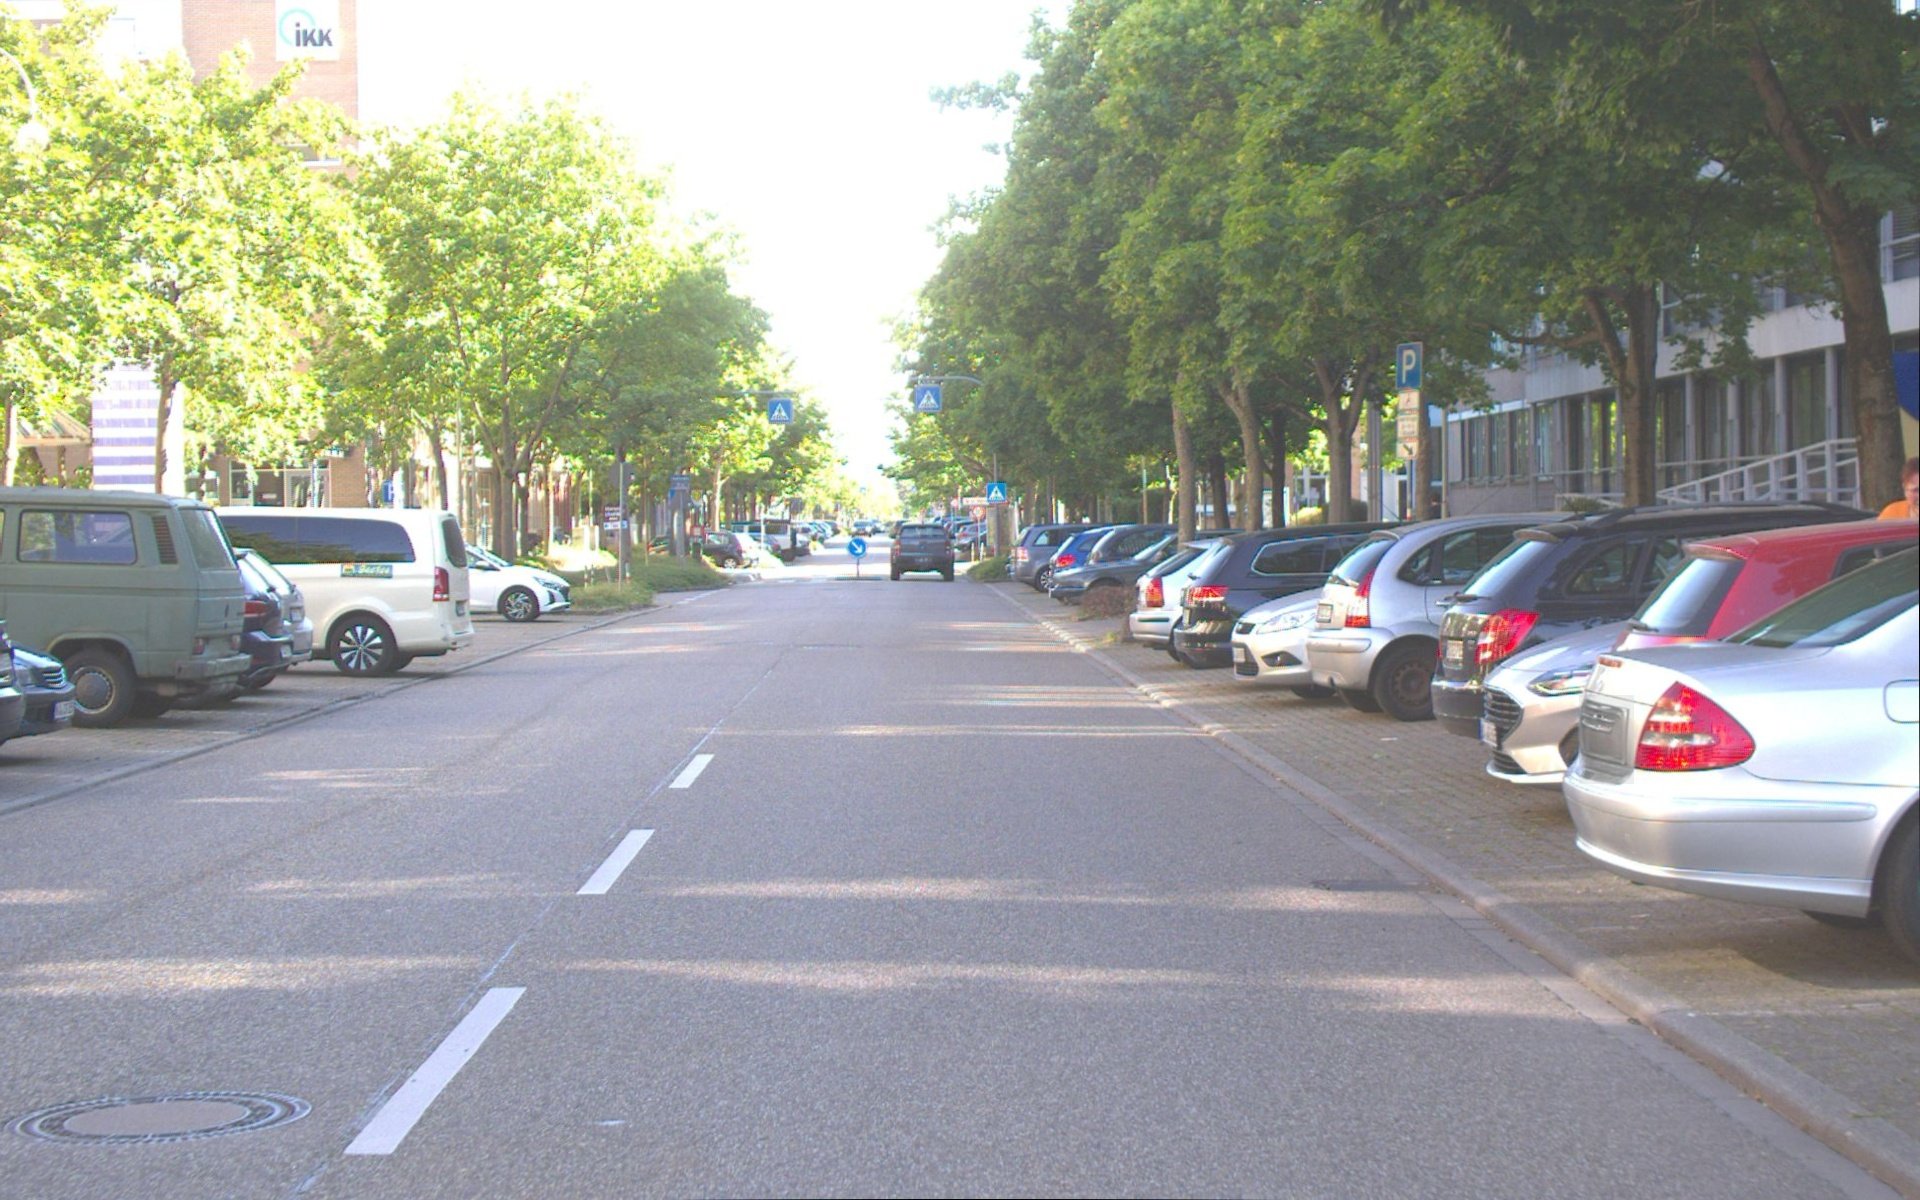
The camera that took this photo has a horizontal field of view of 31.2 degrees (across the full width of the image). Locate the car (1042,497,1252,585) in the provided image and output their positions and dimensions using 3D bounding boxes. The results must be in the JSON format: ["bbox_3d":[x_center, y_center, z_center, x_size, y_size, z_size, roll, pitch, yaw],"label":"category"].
[{"bbox_3d":[3.629,-1.154,67.133,3.949,1.509,1.813,-3,1,1],"label":"car"}]

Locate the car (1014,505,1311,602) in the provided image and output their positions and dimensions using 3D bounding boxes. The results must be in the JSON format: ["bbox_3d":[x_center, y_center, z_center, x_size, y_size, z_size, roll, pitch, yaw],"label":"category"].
[{"bbox_3d":[3.414,-0.806,58.682,4.824,1.415,2.032,-3,1,-2],"label":"car"}]

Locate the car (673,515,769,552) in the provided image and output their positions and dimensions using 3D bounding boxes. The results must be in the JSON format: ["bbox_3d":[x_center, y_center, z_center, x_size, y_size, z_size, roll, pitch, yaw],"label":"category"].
[{"bbox_3d":[-9.855,-2.729,141.519,3.847,1.468,1.813,0,1,-7],"label":"car"}]

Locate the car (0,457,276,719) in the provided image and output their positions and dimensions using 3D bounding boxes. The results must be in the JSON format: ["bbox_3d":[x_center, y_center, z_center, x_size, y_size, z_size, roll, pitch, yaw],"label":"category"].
[{"bbox_3d":[-8.158,-0.139,28.588,4.488,2.082,2.083,1,1,2],"label":"car"}]

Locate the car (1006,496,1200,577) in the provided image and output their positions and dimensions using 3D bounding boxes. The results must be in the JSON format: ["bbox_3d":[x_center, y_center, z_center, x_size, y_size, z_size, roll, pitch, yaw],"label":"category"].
[{"bbox_3d":[3.370,-1.501,81.378,4.350,1.698,1.813,-3,1,-3],"label":"car"}]

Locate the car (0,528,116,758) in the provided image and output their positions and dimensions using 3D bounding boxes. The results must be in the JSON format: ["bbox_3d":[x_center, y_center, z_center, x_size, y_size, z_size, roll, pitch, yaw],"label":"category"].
[{"bbox_3d":[-8.140,0.256,23.880,4.132,1.522,1.725,1,1,0],"label":"car"}]

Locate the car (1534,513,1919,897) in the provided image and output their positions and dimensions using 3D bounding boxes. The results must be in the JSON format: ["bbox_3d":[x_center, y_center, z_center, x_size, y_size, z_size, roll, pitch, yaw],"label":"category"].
[{"bbox_3d":[4.487,0.346,14.472,3.838,1.442,1.922,-3,1,3],"label":"car"}]

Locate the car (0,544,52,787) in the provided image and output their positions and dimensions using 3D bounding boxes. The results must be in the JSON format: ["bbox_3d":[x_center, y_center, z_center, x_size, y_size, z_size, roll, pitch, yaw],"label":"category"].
[{"bbox_3d":[-7.617,0.364,21.120,3.725,1.422,1.725,0,1,-6],"label":"car"}]

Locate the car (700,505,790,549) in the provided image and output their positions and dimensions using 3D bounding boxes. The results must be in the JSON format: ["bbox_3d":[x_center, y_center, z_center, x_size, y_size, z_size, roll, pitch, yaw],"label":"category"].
[{"bbox_3d":[-10.150,-3.466,162.778,3.987,2.007,2.000,-1,1,3],"label":"car"}]

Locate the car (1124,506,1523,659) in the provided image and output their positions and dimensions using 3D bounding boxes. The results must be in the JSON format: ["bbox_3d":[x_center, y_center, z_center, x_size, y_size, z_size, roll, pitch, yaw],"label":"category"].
[{"bbox_3d":[3.843,-0.201,36.750,3.969,1.415,1.711,-3,1,-2],"label":"car"}]

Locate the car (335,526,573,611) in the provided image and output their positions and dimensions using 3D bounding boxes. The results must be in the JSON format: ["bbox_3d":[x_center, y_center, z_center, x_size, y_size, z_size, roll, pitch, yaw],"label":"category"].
[{"bbox_3d":[-8.951,-0.574,60.993,3.986,1.481,1.807,0,1,-2],"label":"car"}]

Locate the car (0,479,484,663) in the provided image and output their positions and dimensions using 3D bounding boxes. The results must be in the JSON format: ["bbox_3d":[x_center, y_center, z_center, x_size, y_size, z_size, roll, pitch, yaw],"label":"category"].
[{"bbox_3d":[-8.099,-0.344,38.561,5.257,1.960,1.943,1,1,-1],"label":"car"}]

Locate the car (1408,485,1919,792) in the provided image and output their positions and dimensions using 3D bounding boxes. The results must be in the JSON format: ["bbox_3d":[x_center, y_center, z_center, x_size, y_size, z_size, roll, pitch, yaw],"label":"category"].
[{"bbox_3d":[4.924,0.145,19.477,4.515,1.537,1.922,-3,1,2],"label":"car"}]

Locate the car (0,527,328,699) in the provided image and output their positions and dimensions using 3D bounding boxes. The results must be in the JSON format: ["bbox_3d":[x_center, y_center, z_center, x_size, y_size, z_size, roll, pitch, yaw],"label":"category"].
[{"bbox_3d":[-8.106,0.083,31.278,4.321,1.472,1.943,1,1,2],"label":"car"}]

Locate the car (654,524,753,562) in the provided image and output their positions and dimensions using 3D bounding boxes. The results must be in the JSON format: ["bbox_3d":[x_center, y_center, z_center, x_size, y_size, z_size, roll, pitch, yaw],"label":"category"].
[{"bbox_3d":[-10.133,-2.261,135.776,3.848,1.468,1.813,1,1,-4],"label":"car"}]

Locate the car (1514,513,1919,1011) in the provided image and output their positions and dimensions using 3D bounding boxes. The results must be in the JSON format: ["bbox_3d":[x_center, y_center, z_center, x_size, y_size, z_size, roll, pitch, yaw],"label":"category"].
[{"bbox_3d":[4.312,0.403,11.502,4.578,1.470,1.747,-3,1,0],"label":"car"}]

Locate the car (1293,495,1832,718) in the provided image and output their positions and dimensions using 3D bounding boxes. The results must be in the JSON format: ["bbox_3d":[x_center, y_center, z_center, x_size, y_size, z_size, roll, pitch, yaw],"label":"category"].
[{"bbox_3d":[4.583,0.028,26.442,3.742,1.488,1.617,-3,1,-4],"label":"car"}]

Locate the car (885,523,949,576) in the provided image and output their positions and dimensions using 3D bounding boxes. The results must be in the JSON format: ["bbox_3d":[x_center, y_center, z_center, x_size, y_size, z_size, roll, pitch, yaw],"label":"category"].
[{"bbox_3d":[-1.370,-1.615,108.584,1.993,1.634,4.000,1,1,-1],"label":"car"}]

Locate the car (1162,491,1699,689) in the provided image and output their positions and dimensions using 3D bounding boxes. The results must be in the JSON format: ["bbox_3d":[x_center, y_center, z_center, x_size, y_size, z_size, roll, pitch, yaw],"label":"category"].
[{"bbox_3d":[4.252,-0.111,31.540,4.591,1.488,1.763,-3,1,-1],"label":"car"}]

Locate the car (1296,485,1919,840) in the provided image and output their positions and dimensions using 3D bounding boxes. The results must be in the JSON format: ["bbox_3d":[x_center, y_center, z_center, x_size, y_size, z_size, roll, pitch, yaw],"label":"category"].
[{"bbox_3d":[4.008,0.240,17.084,4.515,1.537,1.922,-3,1,3],"label":"car"}]

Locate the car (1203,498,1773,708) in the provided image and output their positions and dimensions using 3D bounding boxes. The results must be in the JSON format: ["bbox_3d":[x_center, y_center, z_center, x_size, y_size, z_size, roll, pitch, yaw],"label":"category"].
[{"bbox_3d":[4.341,-0.004,28.677,4.285,1.488,2.004,-3,1,-5],"label":"car"}]

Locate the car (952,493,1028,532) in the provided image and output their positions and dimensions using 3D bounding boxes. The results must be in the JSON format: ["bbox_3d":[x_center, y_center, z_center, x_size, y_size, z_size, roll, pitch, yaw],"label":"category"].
[{"bbox_3d":[1.597,-4.720,185.189,3.986,2.007,2.000,-1,1,-2],"label":"car"}]

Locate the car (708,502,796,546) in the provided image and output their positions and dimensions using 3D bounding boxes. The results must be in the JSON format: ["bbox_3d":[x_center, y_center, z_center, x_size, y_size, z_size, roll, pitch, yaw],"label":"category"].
[{"bbox_3d":[-10.027,-3.673,166.131,3.987,2.007,2.000,-1,1,3],"label":"car"}]

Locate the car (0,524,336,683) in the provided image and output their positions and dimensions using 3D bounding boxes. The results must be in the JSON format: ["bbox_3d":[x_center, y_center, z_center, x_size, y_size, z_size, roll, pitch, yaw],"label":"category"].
[{"bbox_3d":[-8.530,0.006,33.999,4.321,1.472,1.943,1,1,2],"label":"car"}]
